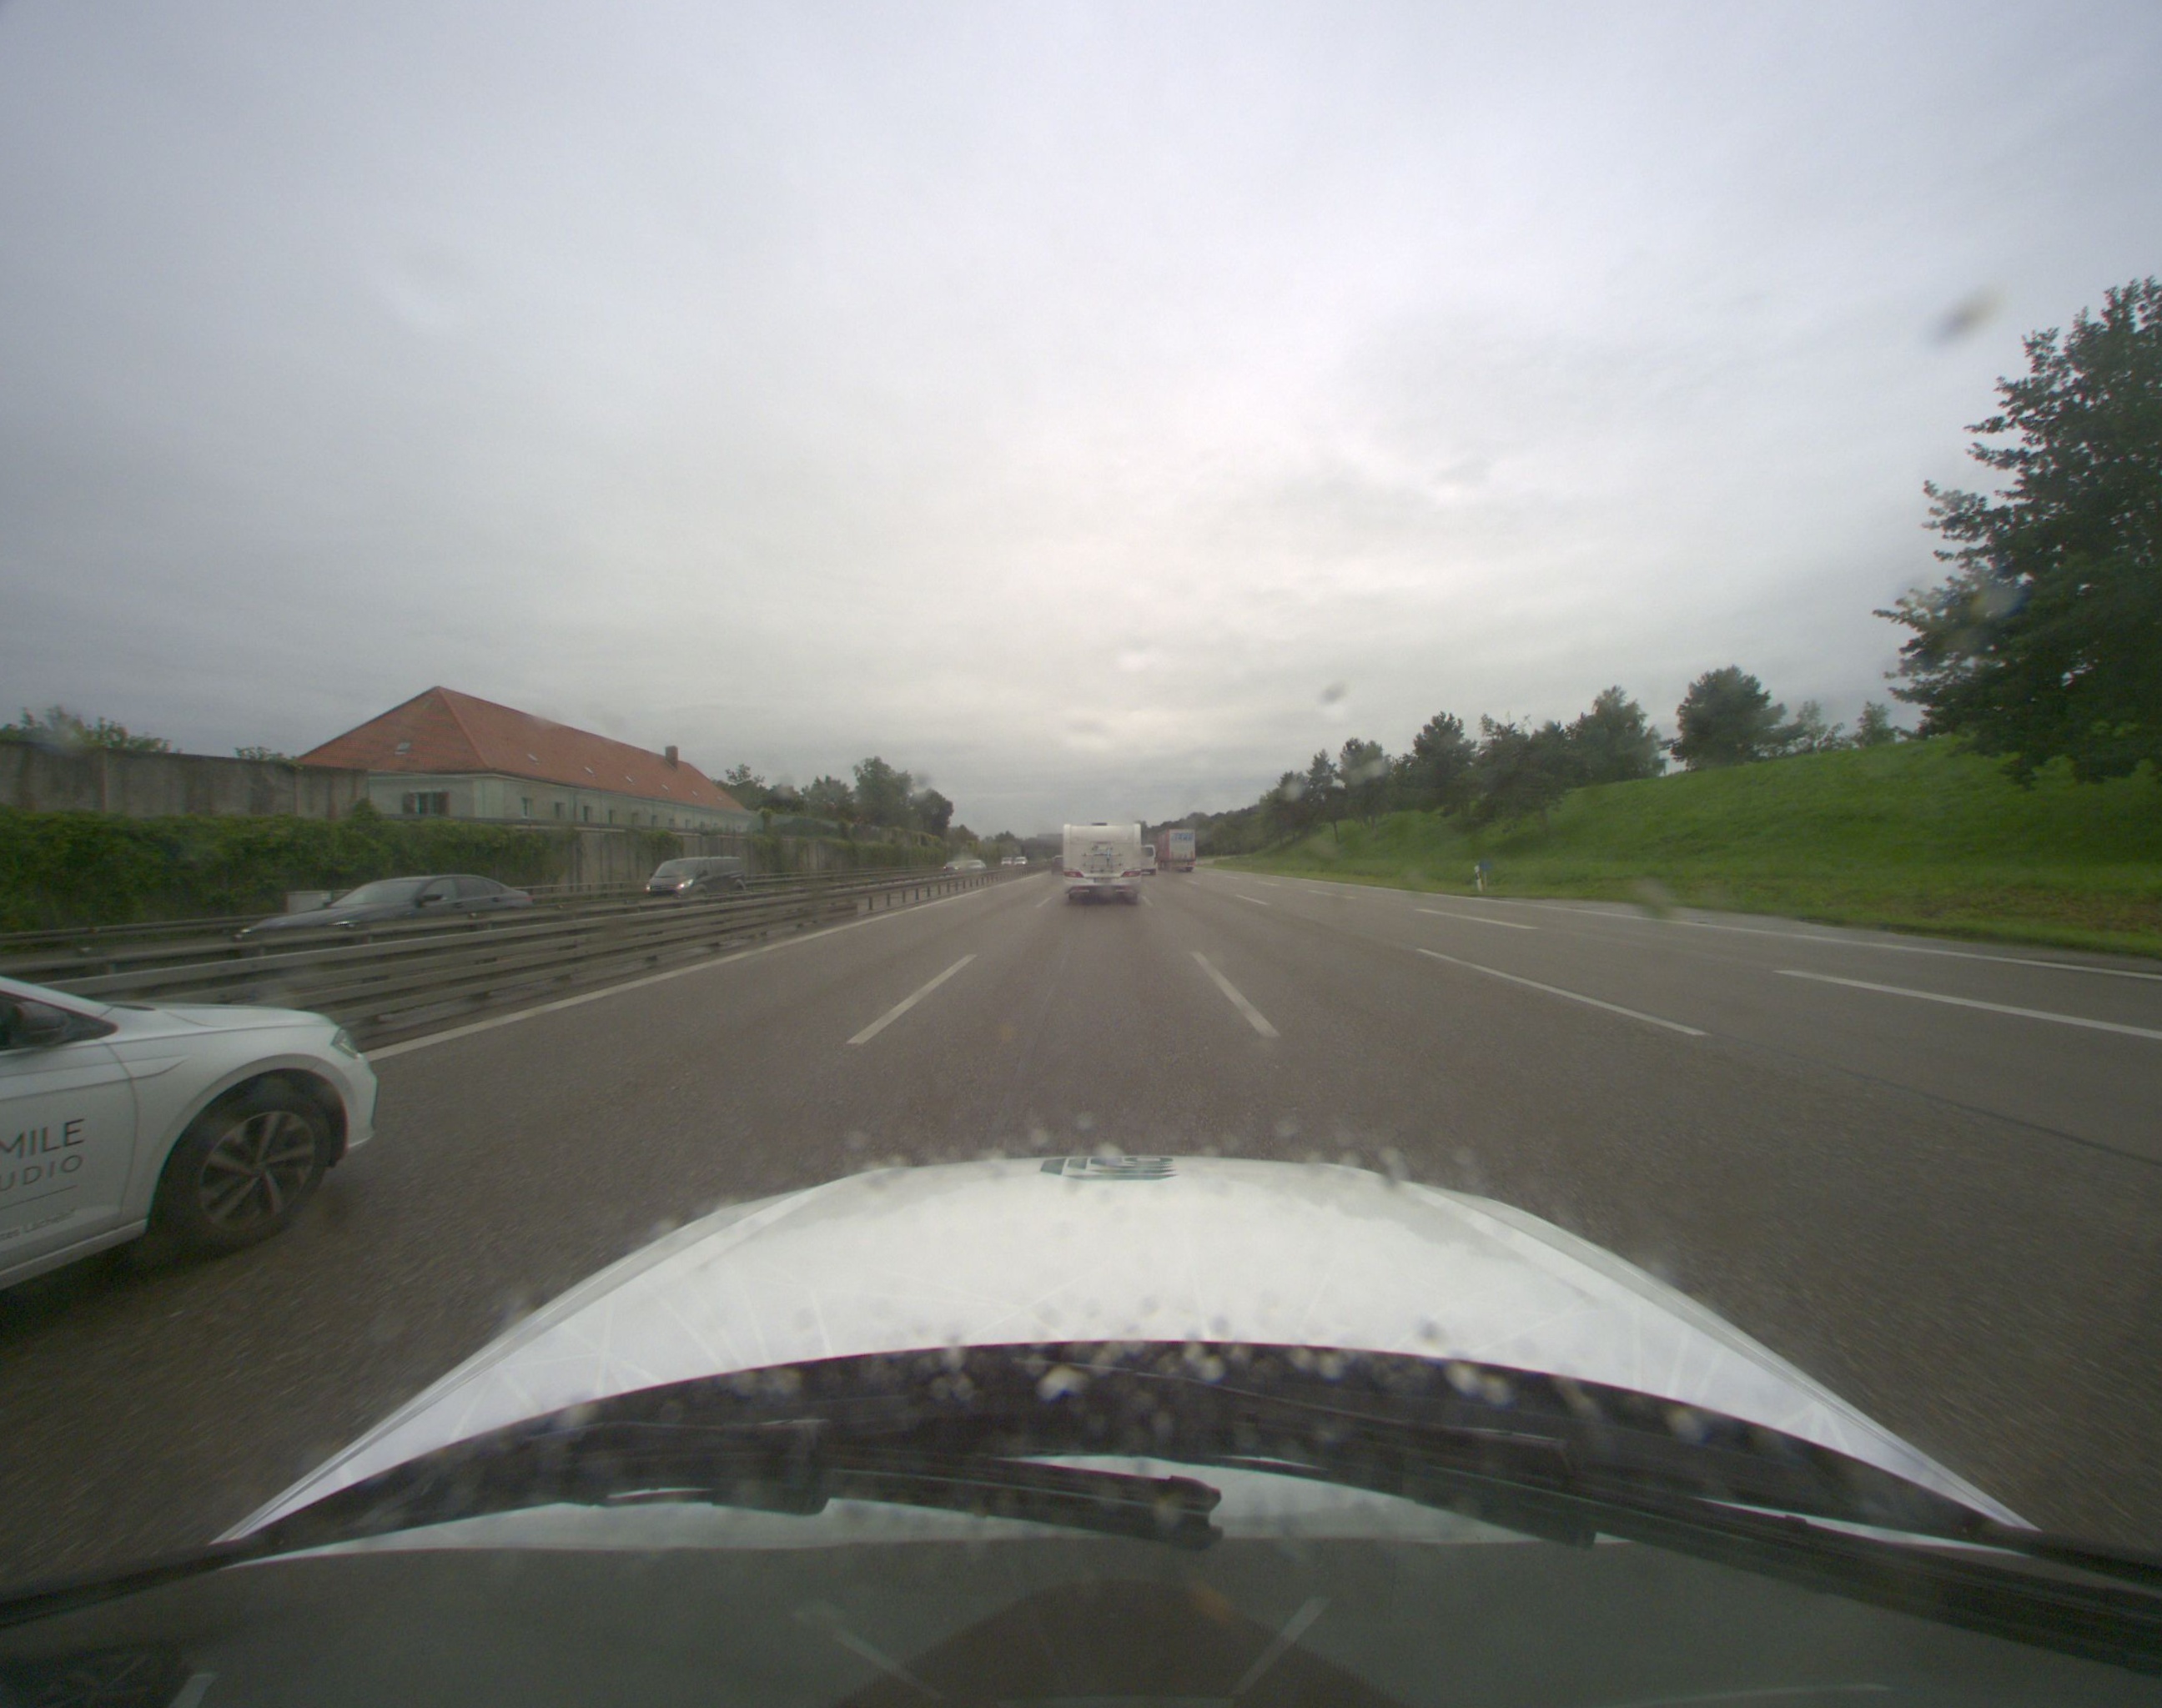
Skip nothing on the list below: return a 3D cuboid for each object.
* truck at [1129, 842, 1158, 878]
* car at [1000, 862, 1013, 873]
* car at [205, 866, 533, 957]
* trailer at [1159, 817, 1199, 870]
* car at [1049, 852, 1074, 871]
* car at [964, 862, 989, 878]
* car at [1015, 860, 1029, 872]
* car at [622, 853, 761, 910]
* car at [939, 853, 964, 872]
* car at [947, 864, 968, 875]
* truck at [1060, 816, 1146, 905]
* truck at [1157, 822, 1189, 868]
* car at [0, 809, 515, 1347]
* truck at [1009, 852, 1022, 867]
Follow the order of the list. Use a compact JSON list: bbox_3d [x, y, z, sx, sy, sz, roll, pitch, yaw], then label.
[{"bbox_3d":[5.047,0.489,66.202,2.046,2.770,5.550,0,-1,1],"label":"truck"},{"bbox_3d":[-14.604,2.612,160.398,1.986,2.014,4.958,0,-1,1],"label":"car"},{"bbox_3d":[-12.183,0.897,14.414,1.986,1.356,4.226,0,-1,2],"label":"car"},{"bbox_3d":[9.638,-0.900,81.065,3.087,4.922,11.798,0,-1,3],"label":"trailer"},{"bbox_3d":[-1.701,0.678,72.579,1.986,1.600,5.124,0,-1,1],"label":"car"},{"bbox_3d":[-10.046,1.509,78.450,1.596,1.406,4.766,-5,-1,1],"label":"car"},{"bbox_3d":[-8.746,1.810,121.428,1.781,1.751,4.536,0,-1,0],"label":"car"},{"bbox_3d":[-14.940,0.994,31.773,2.201,1.972,6.273,0,-1,2],"label":"car"},{"bbox_3d":[-14.062,0.930,88.557,1.926,2.013,4.732,-1,0,0],"label":"car"},{"bbox_3d":[-16.981,2.125,112.478,1.947,1.552,4.525,0,-1,3],"label":"car"},{"bbox_3d":[0.739,0.224,27.727,2.651,2.742,5.078,0,-1,1],"label":"truck"},{"bbox_3d":[9.924,-0.890,88.154,3.037,4.839,5.852,0,-1,2],"label":"truck"},{"bbox_3d":[-4.147,0.694,2.269,1.746,1.618,4.665,-1,0,1],"label":"car"},{"bbox_3d":[-16.432,1.314,204.826,2.682,3.777,8.337,0,-1,1],"label":"truck"}]
